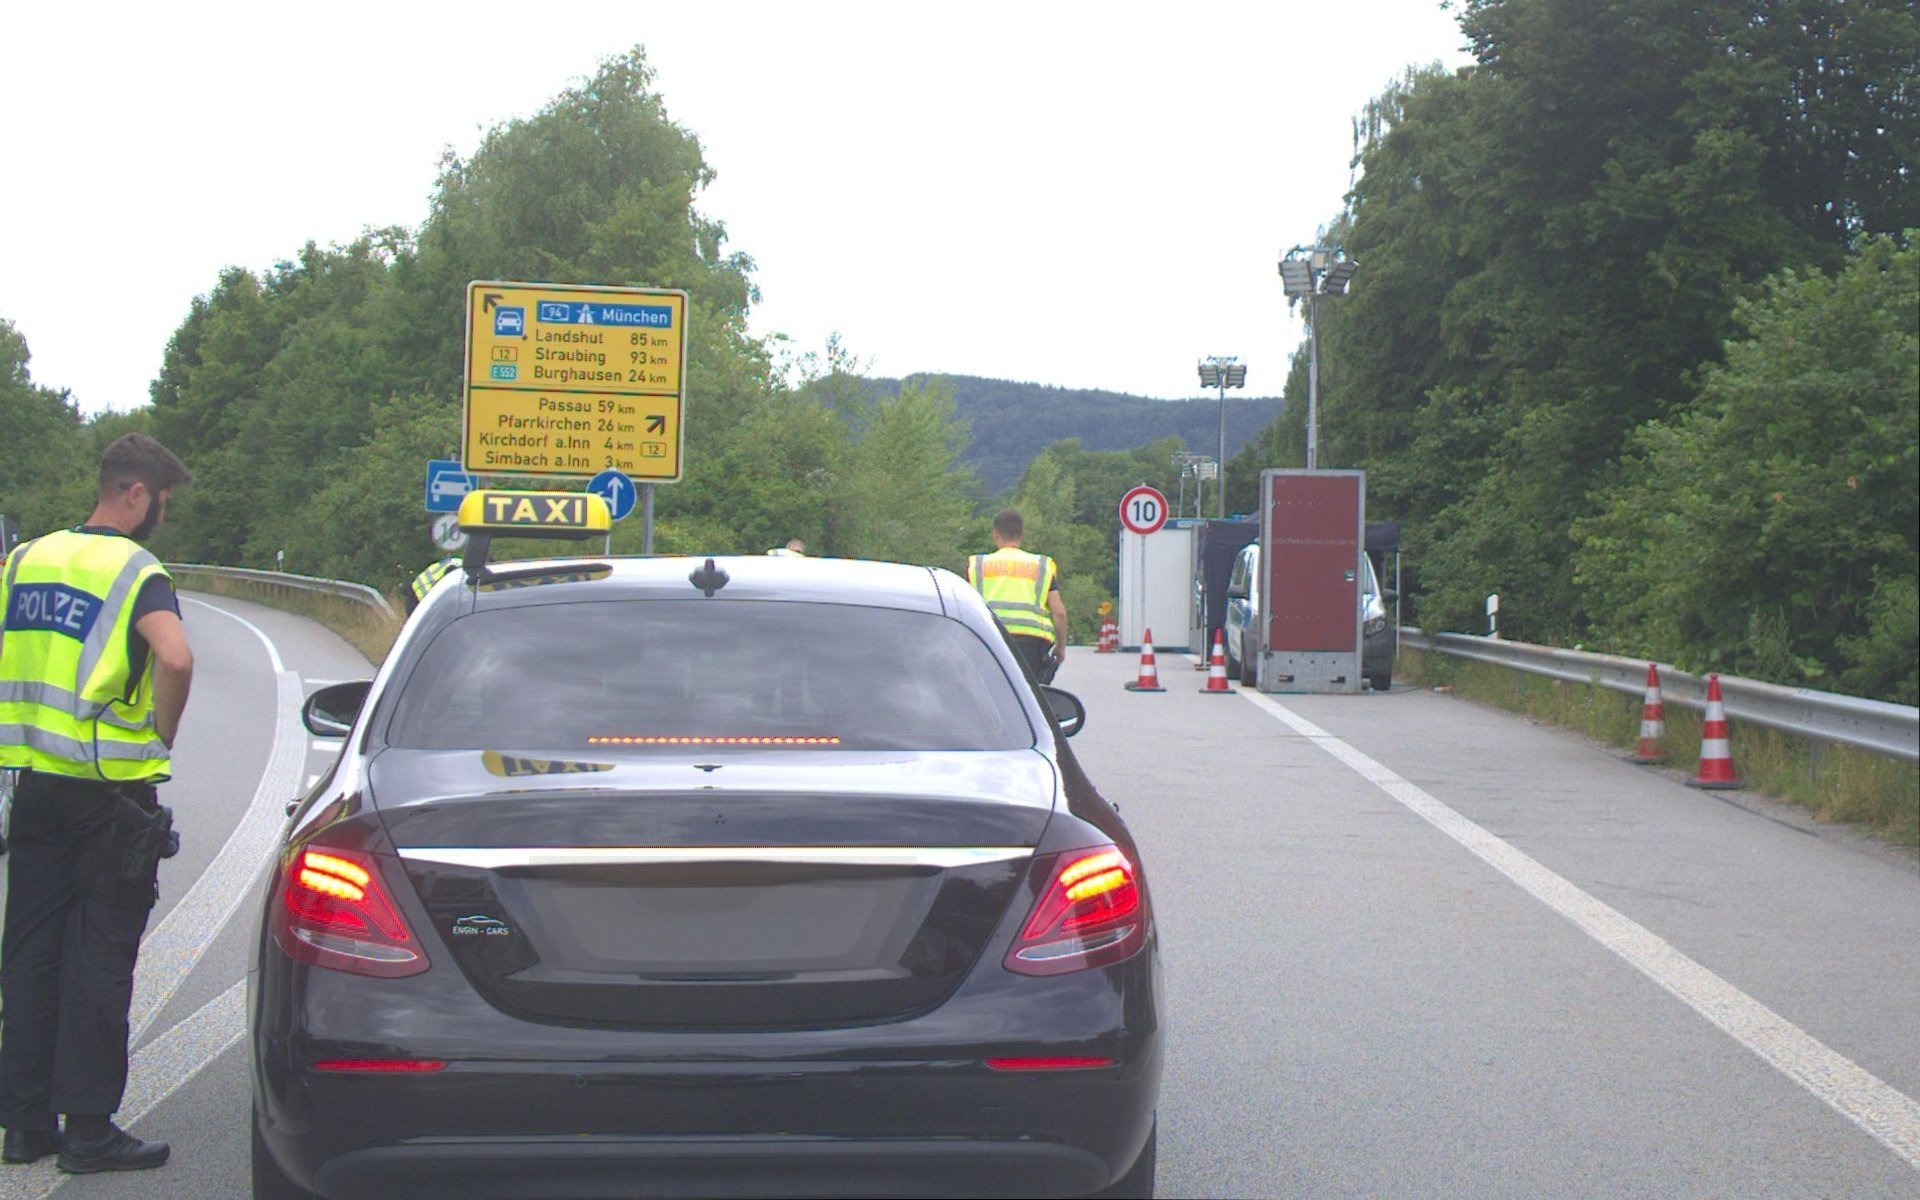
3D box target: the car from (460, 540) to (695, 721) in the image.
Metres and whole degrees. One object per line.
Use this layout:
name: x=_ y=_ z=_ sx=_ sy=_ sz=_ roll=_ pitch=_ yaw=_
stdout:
car: x=-3.351 y=0.221 z=30.781 sx=1.855 sy=1.493 sz=4.257 roll=0 pitch=1 yaw=-3

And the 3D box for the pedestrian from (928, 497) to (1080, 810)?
pedestrian: x=0.268 y=0.305 z=20.487 sx=0.812 sy=1.824 sz=0.809 roll=0 pitch=1 yaw=8

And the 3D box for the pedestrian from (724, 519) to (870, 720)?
pedestrian: x=-1.402 y=0.161 z=29.569 sx=0.908 sy=1.692 sz=0.914 roll=0 pitch=0 yaw=-32

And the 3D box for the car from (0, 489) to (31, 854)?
car: x=-5.400 y=0.356 z=15.020 sx=1.868 sy=1.737 sz=4.009 roll=0 pitch=1 yaw=-4

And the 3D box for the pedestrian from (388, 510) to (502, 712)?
pedestrian: x=-4.577 y=0.091 z=30.614 sx=0.910 sy=1.763 sz=0.912 roll=1 pitch=1 yaw=-3

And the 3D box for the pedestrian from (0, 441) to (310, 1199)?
pedestrian: x=-2.082 y=0.504 z=8.017 sx=0.761 sy=1.712 sz=0.816 roll=1 pitch=1 yaw=37

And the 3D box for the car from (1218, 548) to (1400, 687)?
car: x=4.583 y=0.178 z=45.796 sx=1.916 sy=1.672 sz=5.083 roll=2 pitch=1 yaw=1

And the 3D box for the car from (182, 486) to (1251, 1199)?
car: x=-0.614 y=0.567 z=8.185 sx=1.855 sy=1.589 sz=4.376 roll=0 pitch=1 yaw=-5

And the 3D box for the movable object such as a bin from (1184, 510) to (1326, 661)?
movable object such as a bin: x=4.642 y=-0.254 z=54.635 sx=1.993 sy=2.272 sz=4.168 roll=1 pitch=1 yaw=2
